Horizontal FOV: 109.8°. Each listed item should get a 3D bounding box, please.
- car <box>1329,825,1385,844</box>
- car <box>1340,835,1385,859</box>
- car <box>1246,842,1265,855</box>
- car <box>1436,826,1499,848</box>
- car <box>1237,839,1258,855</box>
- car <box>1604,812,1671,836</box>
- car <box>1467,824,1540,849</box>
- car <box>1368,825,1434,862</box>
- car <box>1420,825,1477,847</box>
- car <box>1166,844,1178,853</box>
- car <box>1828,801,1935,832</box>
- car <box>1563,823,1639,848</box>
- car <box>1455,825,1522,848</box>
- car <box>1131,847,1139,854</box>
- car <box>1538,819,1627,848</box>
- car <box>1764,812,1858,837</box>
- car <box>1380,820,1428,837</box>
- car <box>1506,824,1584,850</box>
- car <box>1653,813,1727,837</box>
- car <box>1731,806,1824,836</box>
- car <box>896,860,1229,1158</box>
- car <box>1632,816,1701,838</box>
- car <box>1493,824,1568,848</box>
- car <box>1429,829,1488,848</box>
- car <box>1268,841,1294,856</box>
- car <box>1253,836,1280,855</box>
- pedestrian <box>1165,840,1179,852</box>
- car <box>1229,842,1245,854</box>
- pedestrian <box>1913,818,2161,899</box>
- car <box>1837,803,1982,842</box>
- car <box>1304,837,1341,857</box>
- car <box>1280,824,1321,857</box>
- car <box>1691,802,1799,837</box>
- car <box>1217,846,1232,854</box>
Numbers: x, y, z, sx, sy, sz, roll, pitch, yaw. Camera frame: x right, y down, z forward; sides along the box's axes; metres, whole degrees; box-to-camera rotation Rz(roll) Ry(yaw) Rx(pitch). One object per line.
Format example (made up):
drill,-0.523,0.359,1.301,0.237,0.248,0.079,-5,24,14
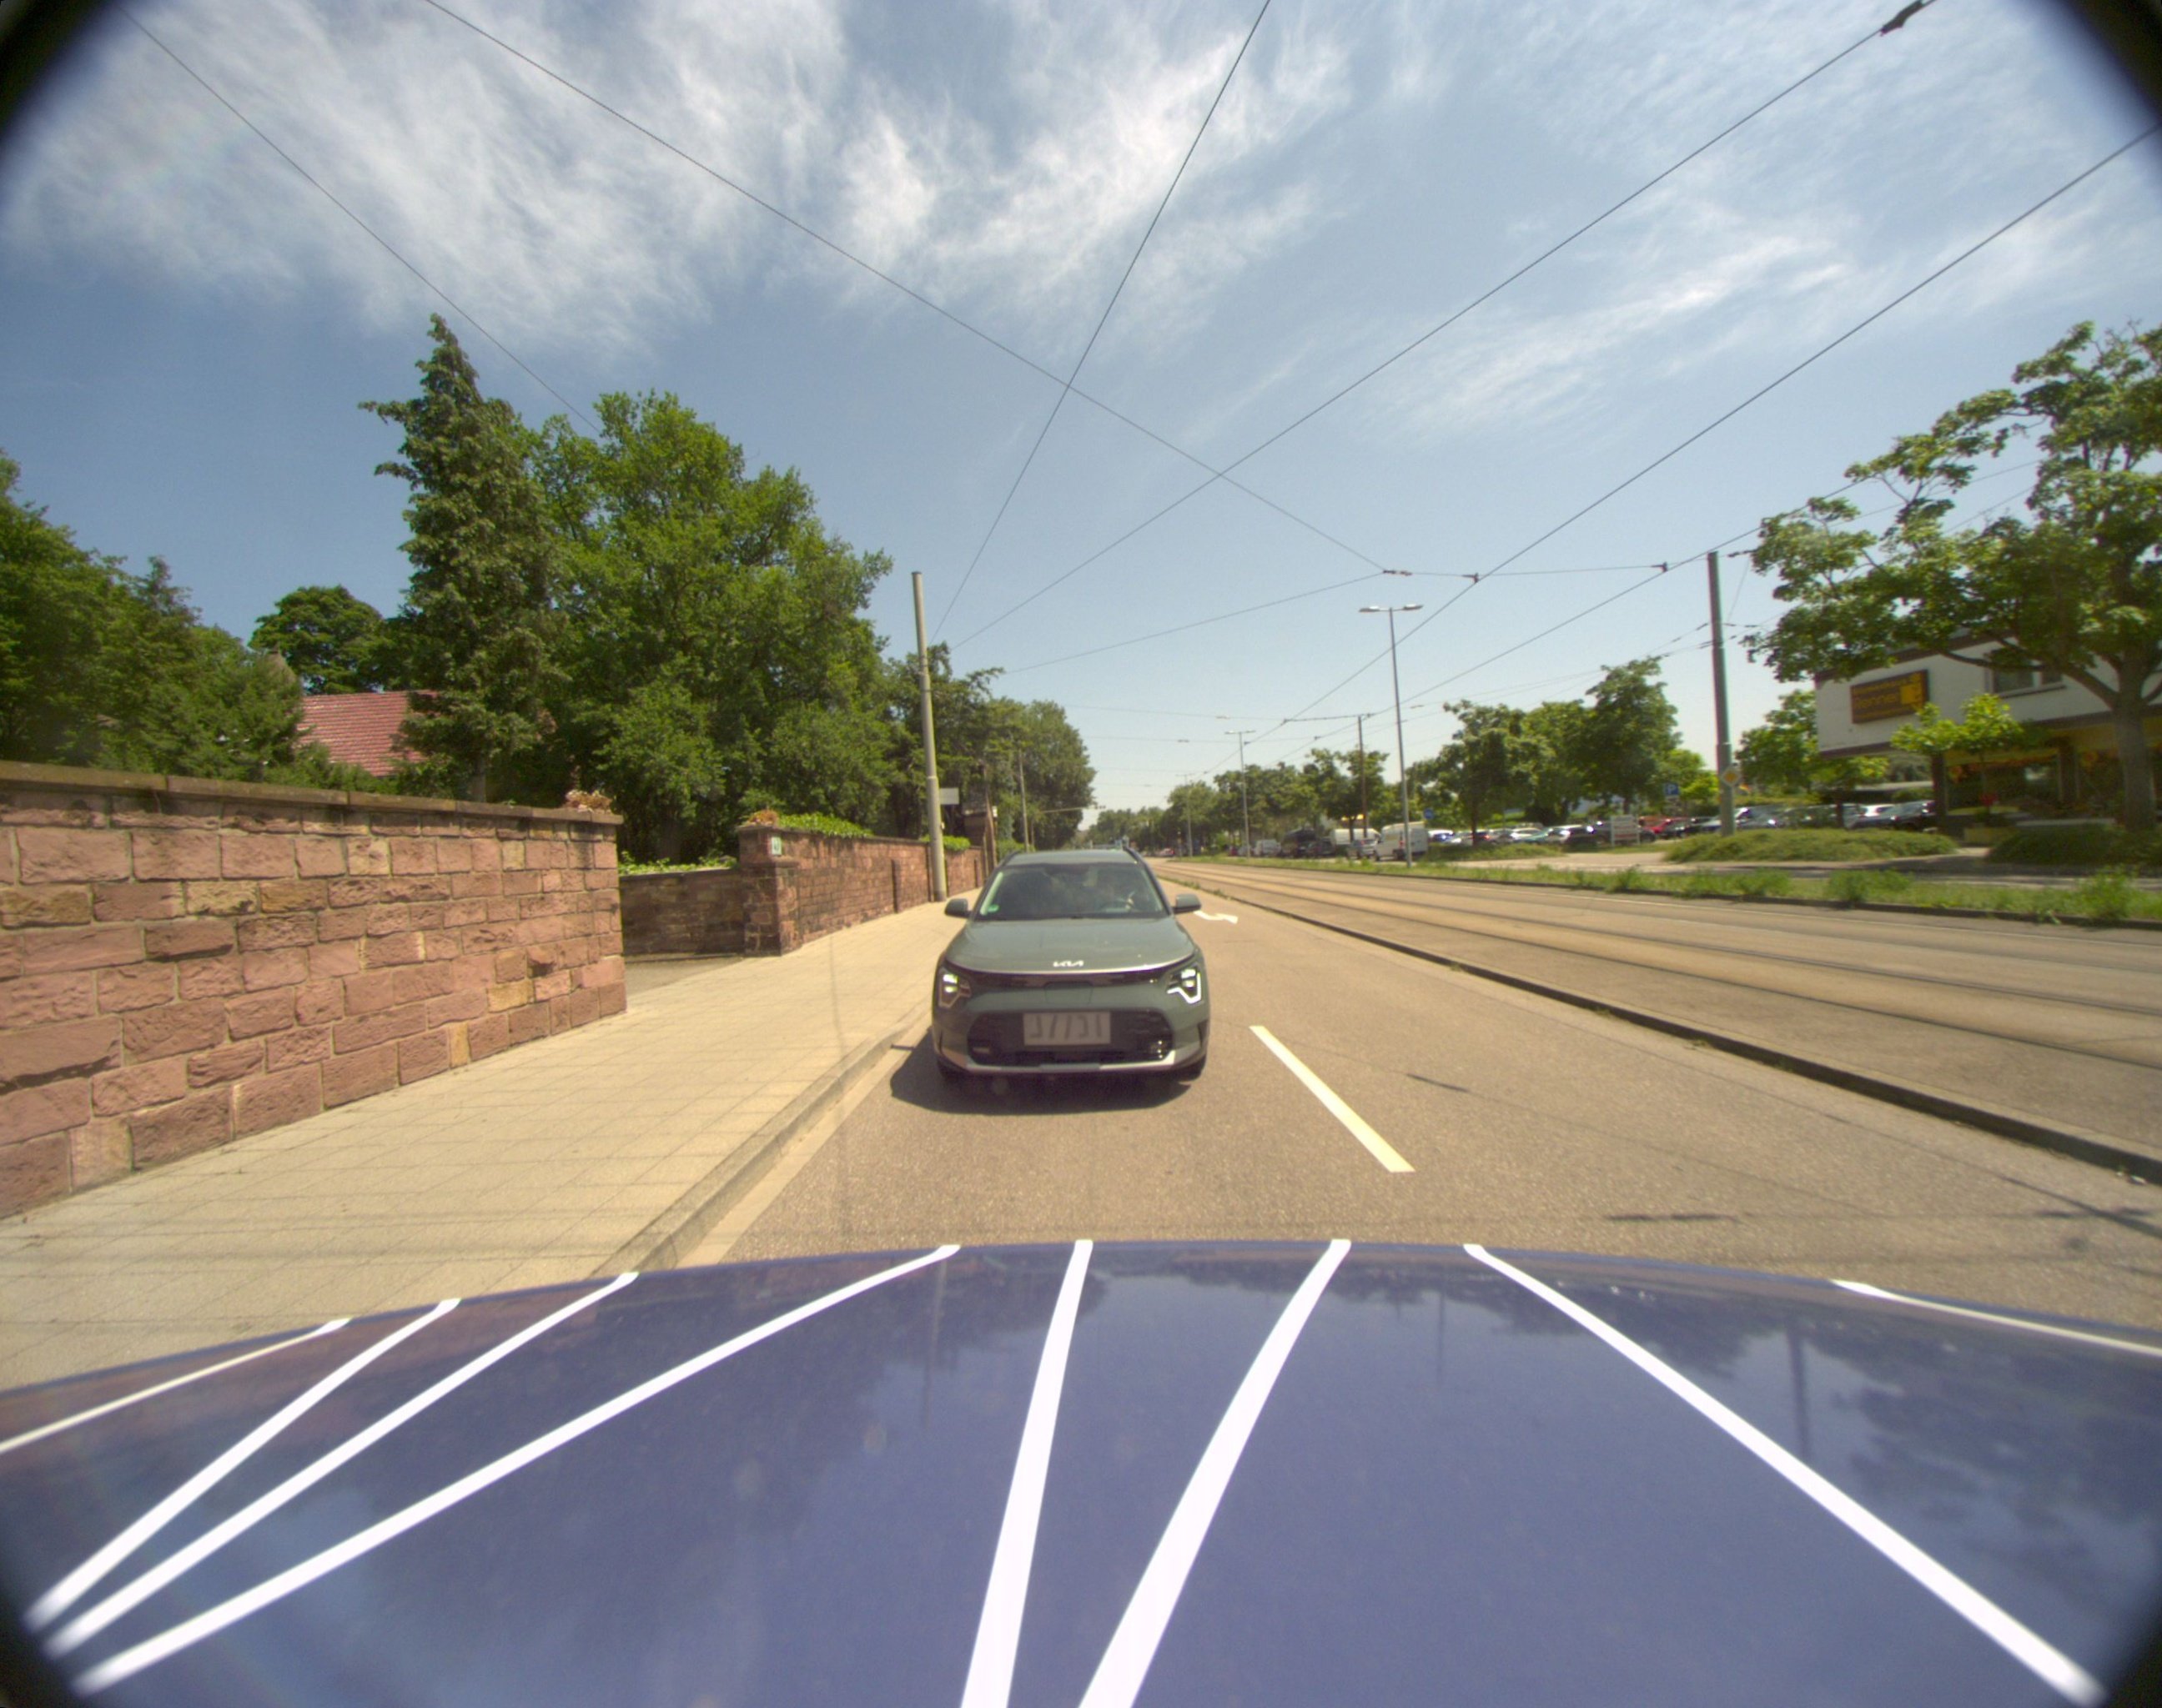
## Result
car,30.707,-2.164,84.672,5.434,1.945,2.029,-2,1,2
car,20.146,-0.482,54.481,1.654,1.494,4.125,-6,1,1
car,20.653,-0.647,89.930,1.429,1.470,3.262,-2,1,1
car,30.550,-1.316,60.153,3.999,1.480,1.866,-3,1,-6
car,20.731,-0.888,94.623,1.635,1.882,4.496,-2,1,1
car,43.772,-2.377,59.753,4.129,1.643,1.692,-3,1,-5
car,30.465,-1.240,54.829,4.163,1.481,2.022,-3,1,-6
car,20.096,-0.676,47.988,1.880,1.999,5.343,-6,1,1
car,31.656,-1.539,65.568,3.998,1.708,1.797,-3,1,-3
car,16.785,-1.067,139.972,1.728,1.601,4.569,-2,1,2
car,43.947,-2.043,41.756,3.996,1.511,1.661,-2,1,3
car,30.574,-1.064,44.710,3.423,1.225,1.643,-3,1,-6
car,30.898,-1.297,57.660,4.075,1.481,1.831,-3,1,-6
car,15.342,-1.020,216.772,1.821,1.979,4.212,-2,1,-3
car,31.169,-1.251,47.276,4.171,1.481,1.984,-3,1,-1
car,42.801,-1.726,44.622,3.724,1.277,1.764,-2,1,3
car,44.485,-3.484,104.800,5.744,2.051,2.147,-2,1,-2
car,30.448,-1.116,49.962,4.040,1.481,1.911,-2,1,-6
car,43.868,-2.079,54.786,3.997,1.576,1.684,-2,1,-1
car,43.311,-2.047,47.318,3.996,1.647,1.803,-2,1,3
car,-0.111,0.884,6.392,1.824,1.577,4.287,-2,0,0
car,44.271,-2.048,57.477,3.999,1.486,1.715,-2,1,-5
car,30.972,-1.206,52.417,4.146,1.481,1.859,-2,1,-6
car,31.208,-1.275,62.916,3.998,1.398,1.797,-2,0,-3
car,20.629,-0.622,78.539,1.767,1.456,3.608,-2,1,2
car,20.606,-0.940,84.386,1.924,1.937,4.816,-2,1,2
pedestrian,16.567,-1.520,138.071,1.998,2.002,3.999,-2,1,0
car,20.755,-0.806,101.181,1.582,1.472,3.423,-2,1,3
pedestrian,26.735,0.088,21.505,1.998,2.002,3.999,-2,1,0
car,34.092,-1.291,31.334,3.996,1.289,1.682,-4,0,2
car,20.355,-0.569,64.123,1.976,1.568,3.751,-2,1,1
car,20.277,-1.259,70.477,2.244,2.822,5.667,-2,1,1
car,43.401,-2.214,49.738,5.120,2.058,2.226,-2,1,1
car,21.362,-0.623,113.209,1.582,1.152,3.423,-2,1,3
